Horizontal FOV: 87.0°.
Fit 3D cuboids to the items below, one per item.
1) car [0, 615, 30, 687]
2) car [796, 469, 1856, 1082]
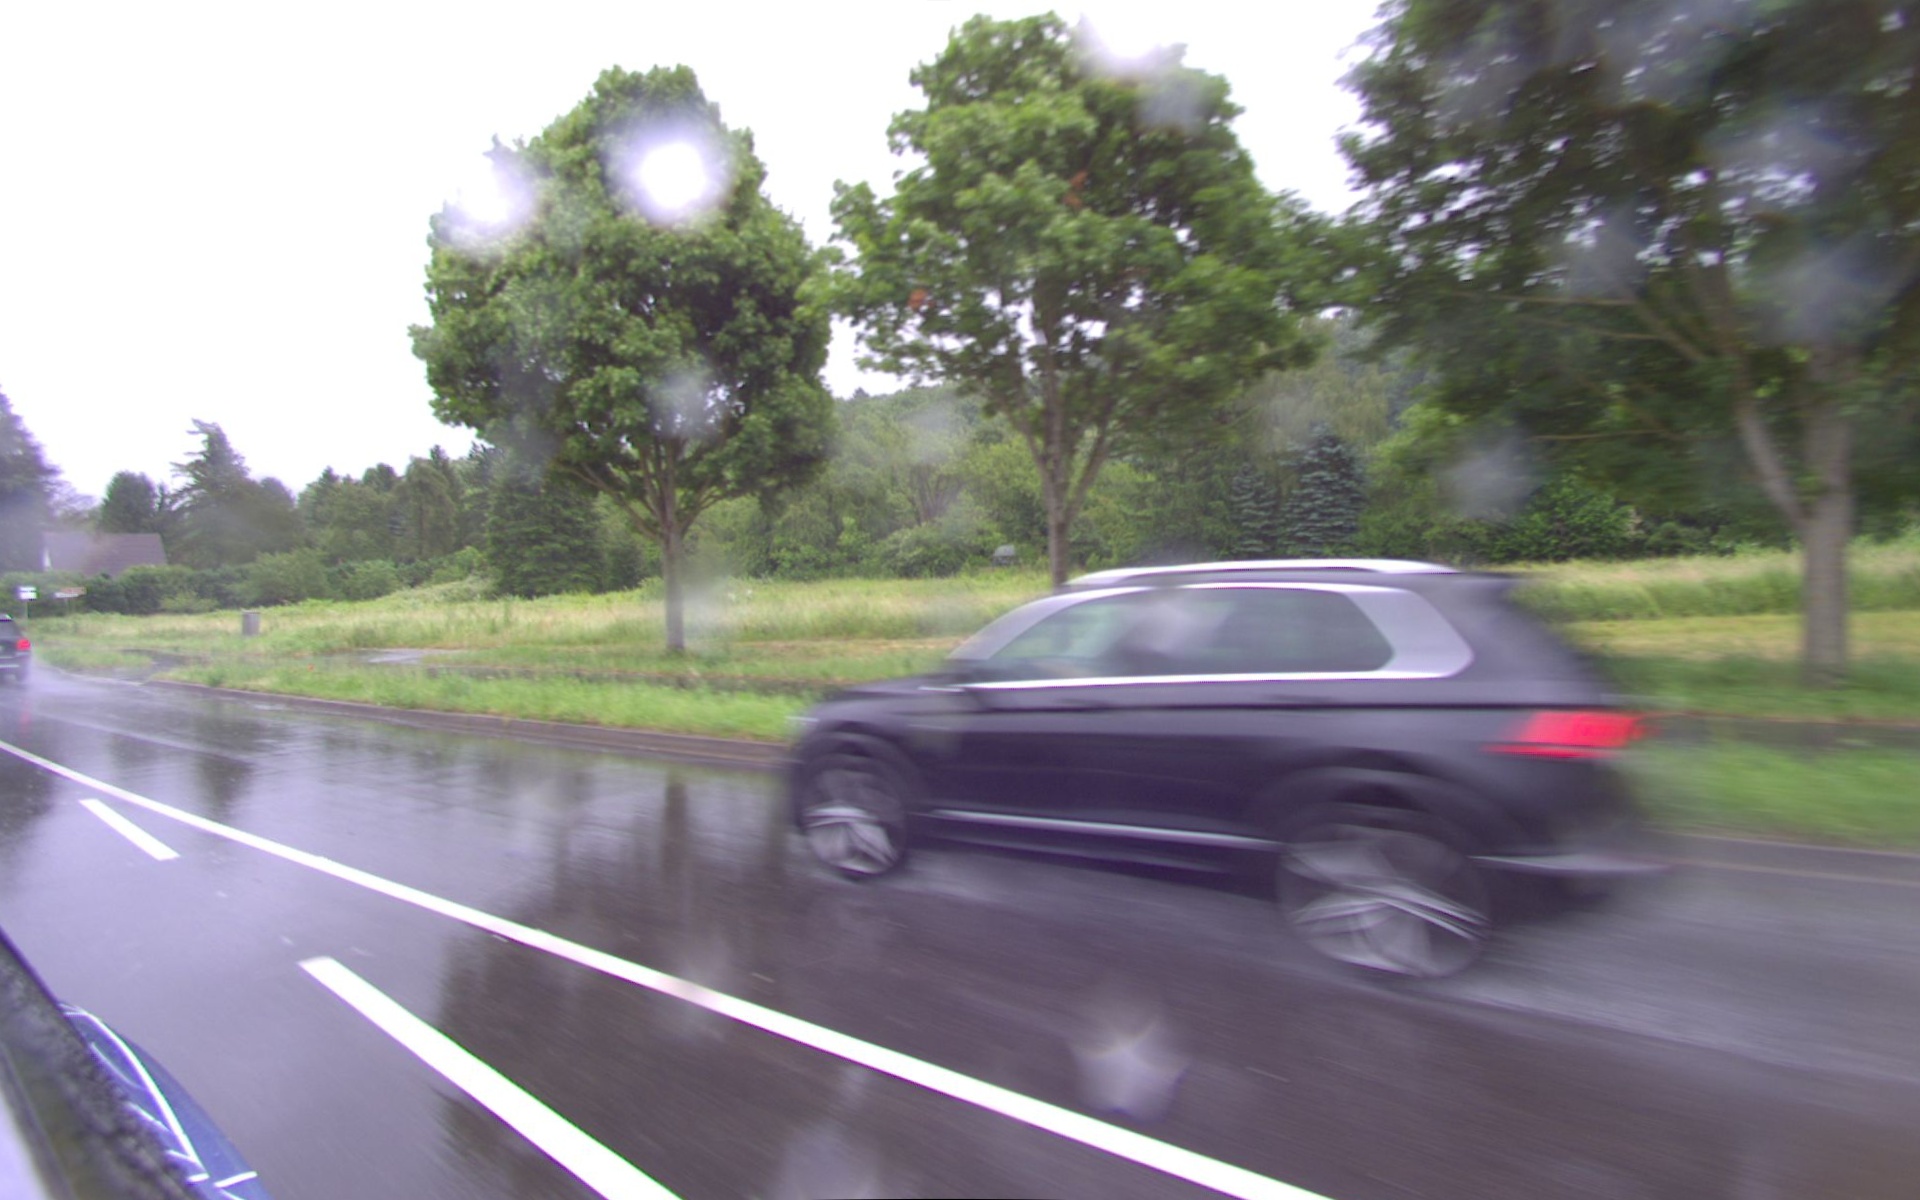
[{"bbox_3d":[-24.688,1.257,25.075,4.216,1.717,1.725,-1,-1,37],"label":"car"},{"bbox_3d":[1.397,0.537,4.962,4.281,1.756,1.907,-1,-1,37],"label":"car"}]
